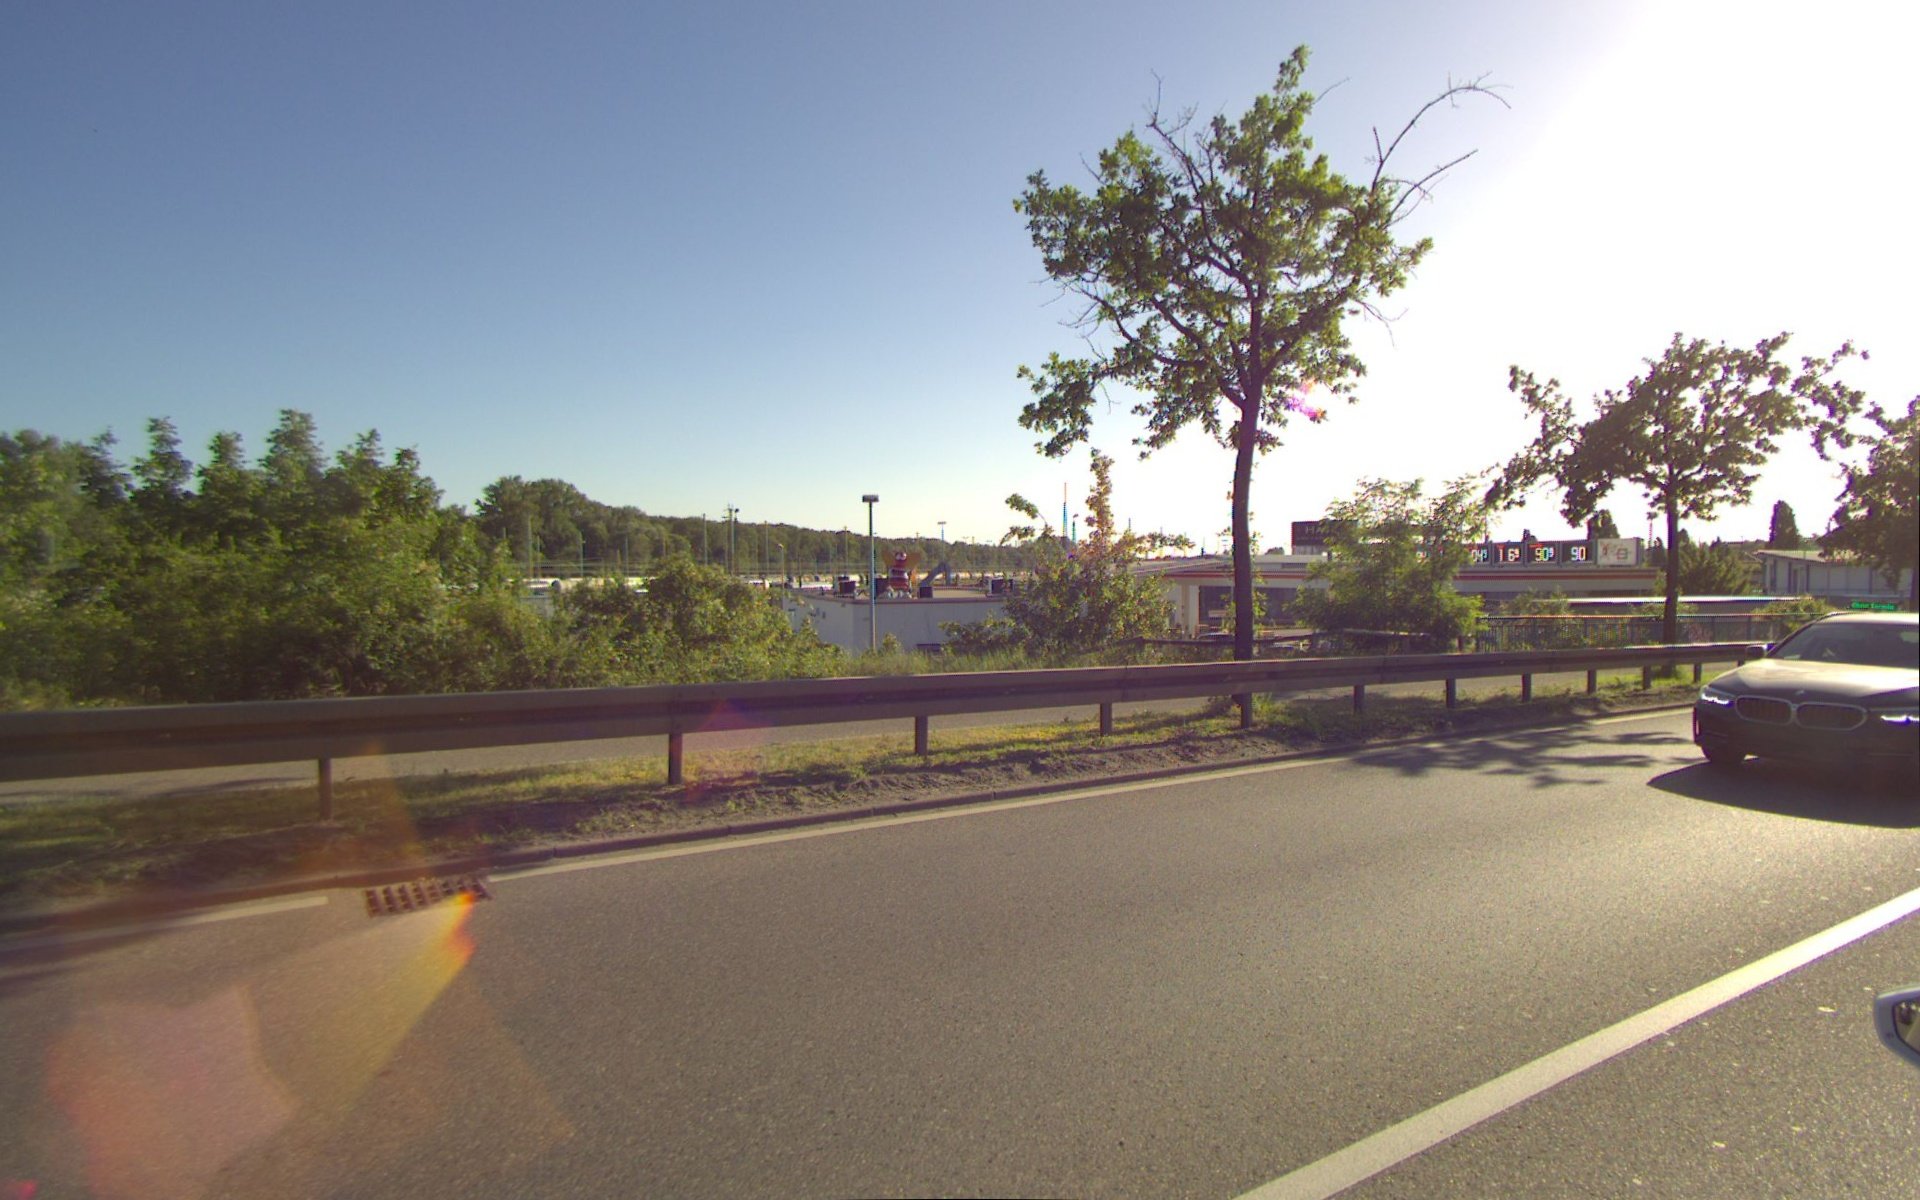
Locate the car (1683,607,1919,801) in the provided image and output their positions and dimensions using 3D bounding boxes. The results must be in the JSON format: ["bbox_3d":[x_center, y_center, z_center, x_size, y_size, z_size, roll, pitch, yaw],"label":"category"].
[{"bbox_3d":[9.011,0.856,9.723,4.321,1.516,1.799,1,0,-32],"label":"car"}]
